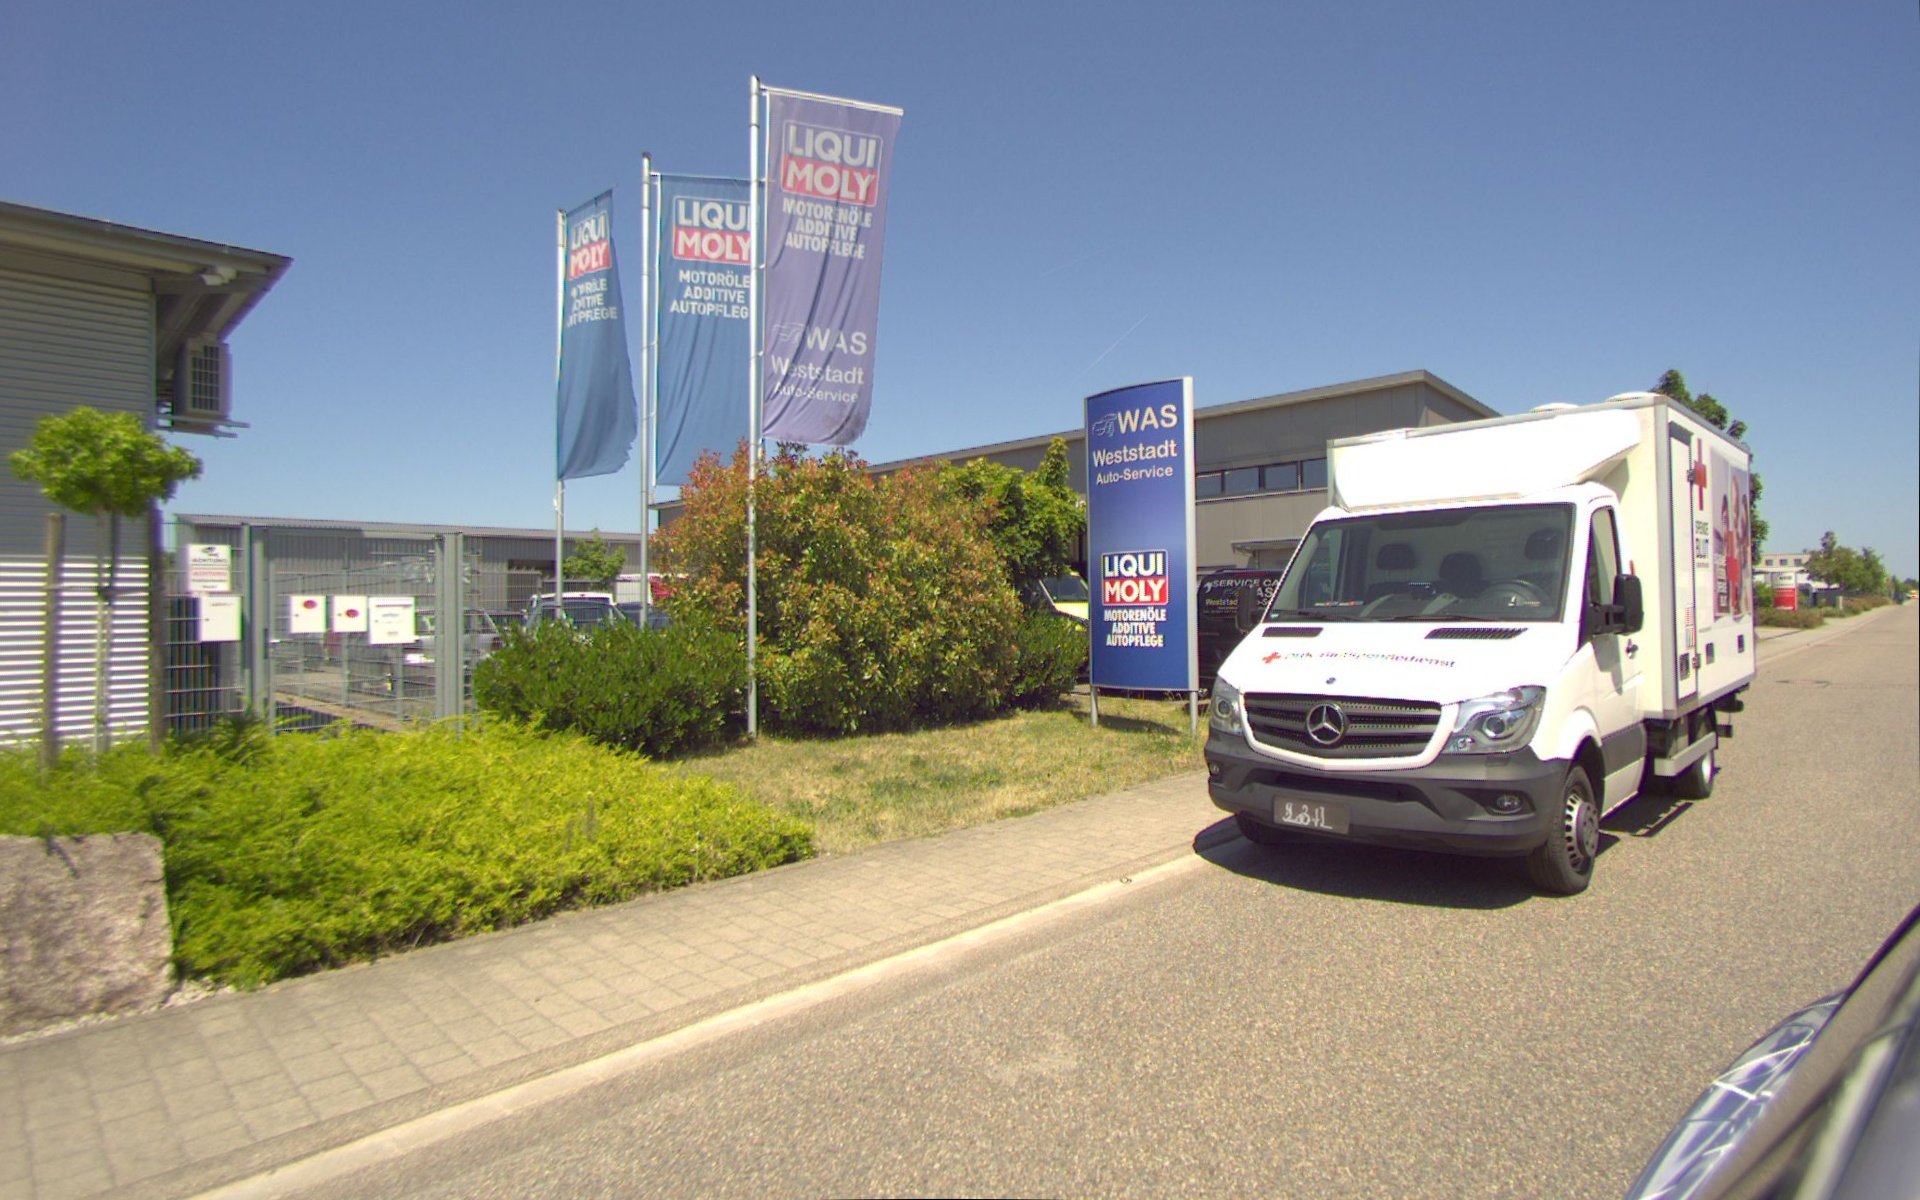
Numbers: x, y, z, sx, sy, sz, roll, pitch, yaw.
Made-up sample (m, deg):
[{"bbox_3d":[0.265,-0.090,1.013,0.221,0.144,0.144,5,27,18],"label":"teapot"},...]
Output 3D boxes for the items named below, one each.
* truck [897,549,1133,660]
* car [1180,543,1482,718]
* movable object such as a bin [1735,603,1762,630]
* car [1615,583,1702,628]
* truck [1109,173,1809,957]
[{"bbox_3d":[1.186,0.087,24.808,2.145,2.400,5.937,-1,0,-44],"label":"truck"},{"bbox_3d":[5.433,0.344,14.365,1.994,2.039,5.250,-1,0,45],"label":"car"},{"bbox_3d":[31.410,0.654,40.336,0.794,1.059,0.618,-1,0,-33],"label":"movable object such as a bin"},{"bbox_3d":[30.652,0.211,44.354,4.832,1.833,2.154,-1,1,-43],"label":"car"},{"bbox_3d":[4.170,-0.171,7.444,6.769,3.246,2.459,-1,0,-44],"label":"truck"}]
